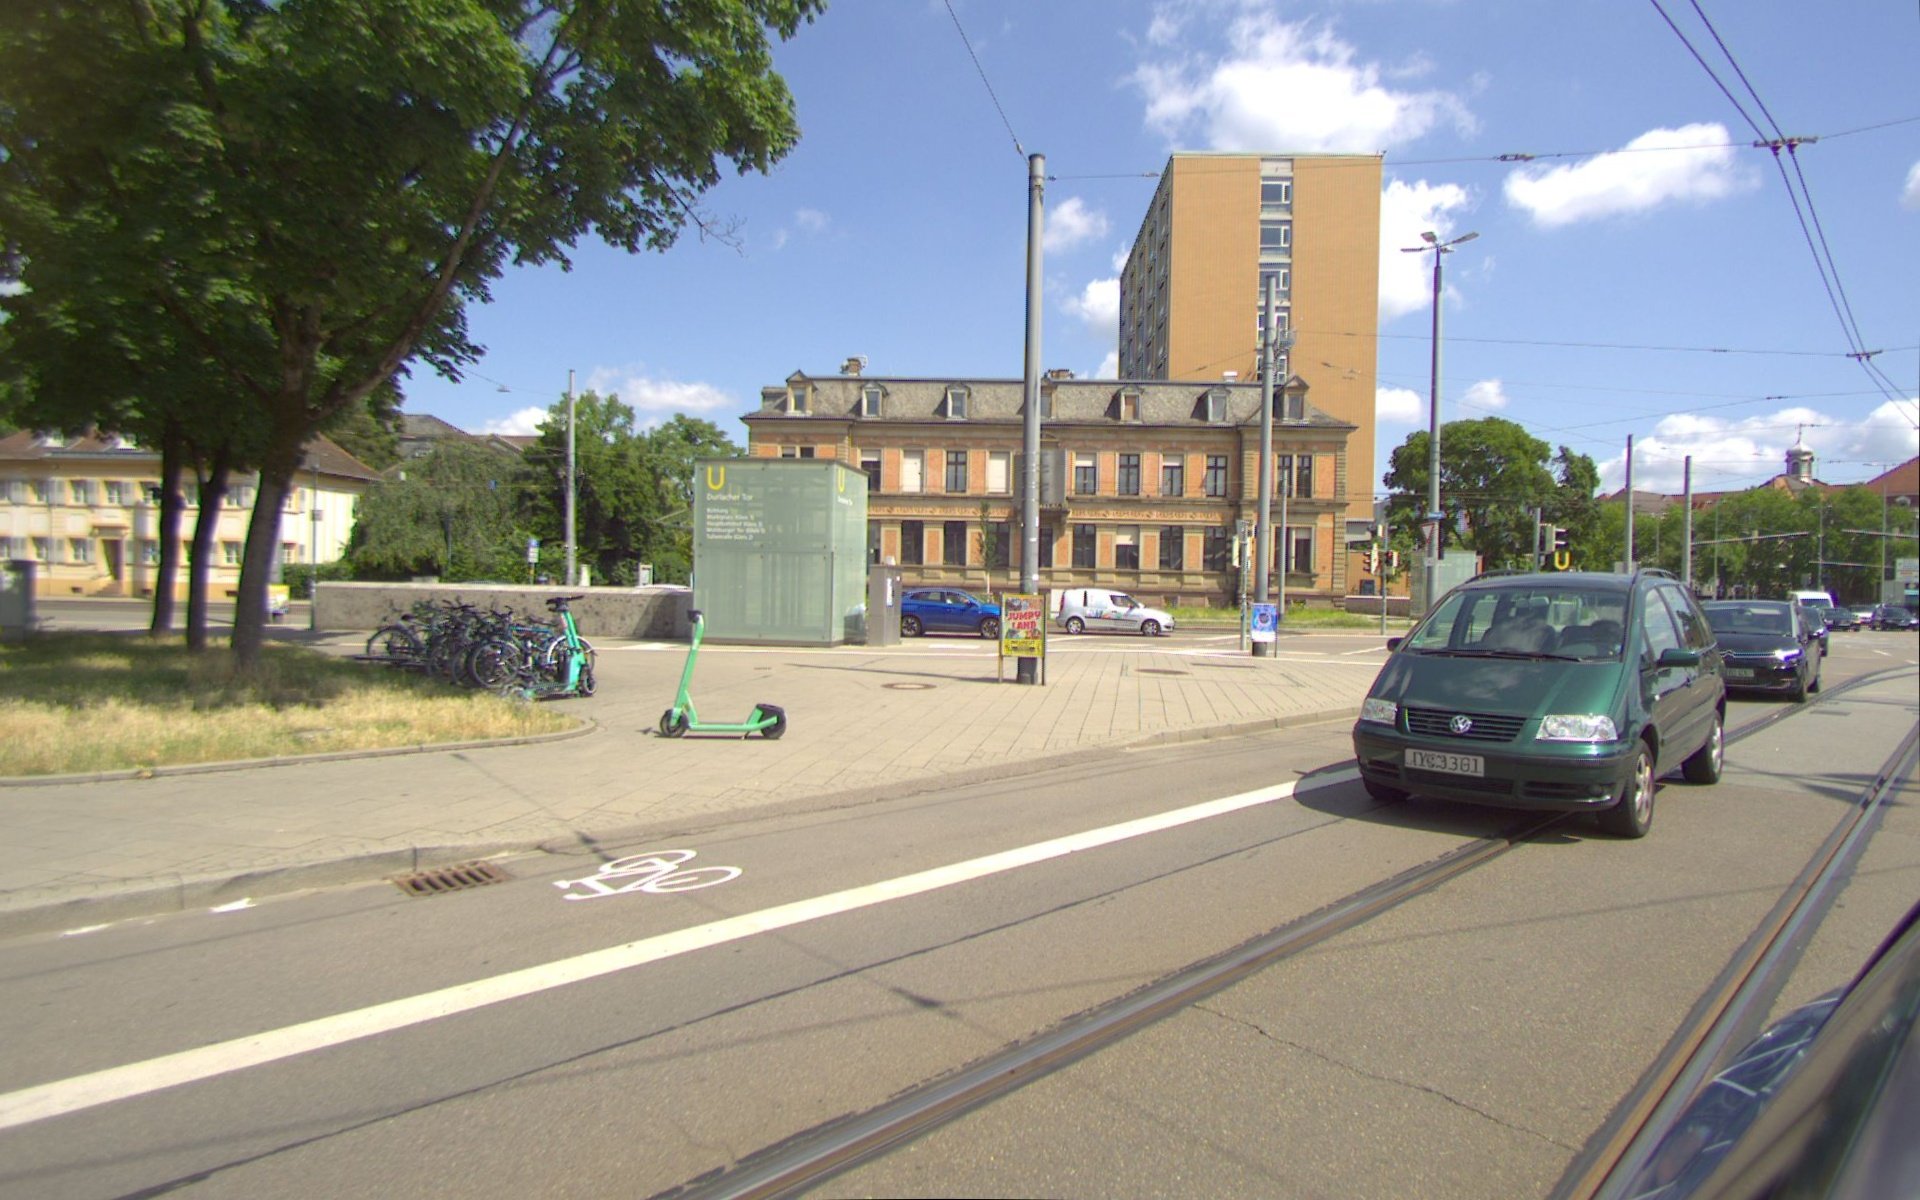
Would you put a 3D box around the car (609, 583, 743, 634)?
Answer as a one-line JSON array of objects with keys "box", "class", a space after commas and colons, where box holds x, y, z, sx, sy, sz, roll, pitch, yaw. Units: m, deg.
[{"box": [-9.580, 0.249, 34.313, 3.932, 1.585, 1.933, 2, 1, 11], "class": "car"}]

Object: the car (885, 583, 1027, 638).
[{"box": [-0.098, 0.315, 33.041, 4.355, 1.570, 1.870, 2, 3, 10], "class": "car"}]

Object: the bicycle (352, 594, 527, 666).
[{"box": [-8.830, 0.477, 17.248, 2.528, 1.104, 0.793, 0, 2, -41], "class": "bicycle"}]

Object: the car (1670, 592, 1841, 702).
[{"box": [13.679, 0.711, 17.299, 1.868, 1.637, 4.356, -1, -1, 44], "class": "car"}]

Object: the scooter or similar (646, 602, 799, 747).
[{"box": [-2.189, 0.639, 9.321, 1.066, 1.194, 0.951, 1, 2, -37], "class": "scooter or similar"}]

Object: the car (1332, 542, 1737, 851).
[{"box": [4.588, 0.539, 7.797, 1.814, 1.739, 4.020, 0, 0, 44], "class": "car"}]

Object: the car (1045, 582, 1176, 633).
[{"box": [5.225, 0.235, 35.315, 4.354, 1.607, 1.870, 2, 1, 9], "class": "car"}]

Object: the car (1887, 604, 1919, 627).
[{"box": [59.746, 0.973, 63.636, 1.662, 1.393, 3.865, 2, 1, 35], "class": "car"}]

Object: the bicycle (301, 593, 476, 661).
[{"box": [-9.842, 0.439, 17.503, 2.528, 1.066, 0.793, 0, 2, -41], "class": "bicycle"}]

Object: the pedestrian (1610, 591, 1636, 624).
[{"box": [38.429, 0.428, 58.662, 1.009, 1.835, 0.727, 1, 1, 7], "class": "pedestrian"}]

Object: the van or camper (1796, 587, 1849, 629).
[{"box": [61.015, 0.560, 71.676, 2.218, 2.769, 5.453, 2, 1, 34], "class": "van or camper"}]

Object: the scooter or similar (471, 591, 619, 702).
[{"box": [-5.001, 0.514, 12.236, 0.947, 1.218, 1.370, 3, 2, 40], "class": "scooter or similar"}]

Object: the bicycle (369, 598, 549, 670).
[{"box": [-8.183, 0.516, 16.630, 2.528, 1.066, 0.793, 0, 2, -41], "class": "bicycle"}]

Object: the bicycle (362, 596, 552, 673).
[{"box": [-7.802, 0.502, 15.791, 2.528, 1.083, 0.793, 0, 2, -41], "class": "bicycle"}]

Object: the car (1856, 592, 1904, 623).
[{"box": [63.515, 0.513, 69.907, 1.803, 2.039, 3.952, 2, 1, 34], "class": "car"}]

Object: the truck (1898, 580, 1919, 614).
[{"box": [87.827, -0.245, 91.076, 3.332, 3.035, 8.633, 2, 1, 32], "class": "truck"}]

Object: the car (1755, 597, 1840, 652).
[{"box": [25.647, 0.694, 31.017, 1.866, 1.504, 4.363, 2, 1, 40], "class": "car"}]

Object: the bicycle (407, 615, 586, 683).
[{"box": [-6.865, 0.722, 15.053, 2.247, 0.891, 0.843, 3, 1, -41], "class": "bicycle"}]

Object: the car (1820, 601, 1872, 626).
[{"box": [55.656, 0.807, 63.633, 1.889, 1.482, 4.209, 2, 1, 34], "class": "car"}]

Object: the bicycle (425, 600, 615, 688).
[{"box": [-6.129, 0.569, 14.161, 2.223, 1.095, 1.027, 0, 2, -41], "class": "bicycle"}]
